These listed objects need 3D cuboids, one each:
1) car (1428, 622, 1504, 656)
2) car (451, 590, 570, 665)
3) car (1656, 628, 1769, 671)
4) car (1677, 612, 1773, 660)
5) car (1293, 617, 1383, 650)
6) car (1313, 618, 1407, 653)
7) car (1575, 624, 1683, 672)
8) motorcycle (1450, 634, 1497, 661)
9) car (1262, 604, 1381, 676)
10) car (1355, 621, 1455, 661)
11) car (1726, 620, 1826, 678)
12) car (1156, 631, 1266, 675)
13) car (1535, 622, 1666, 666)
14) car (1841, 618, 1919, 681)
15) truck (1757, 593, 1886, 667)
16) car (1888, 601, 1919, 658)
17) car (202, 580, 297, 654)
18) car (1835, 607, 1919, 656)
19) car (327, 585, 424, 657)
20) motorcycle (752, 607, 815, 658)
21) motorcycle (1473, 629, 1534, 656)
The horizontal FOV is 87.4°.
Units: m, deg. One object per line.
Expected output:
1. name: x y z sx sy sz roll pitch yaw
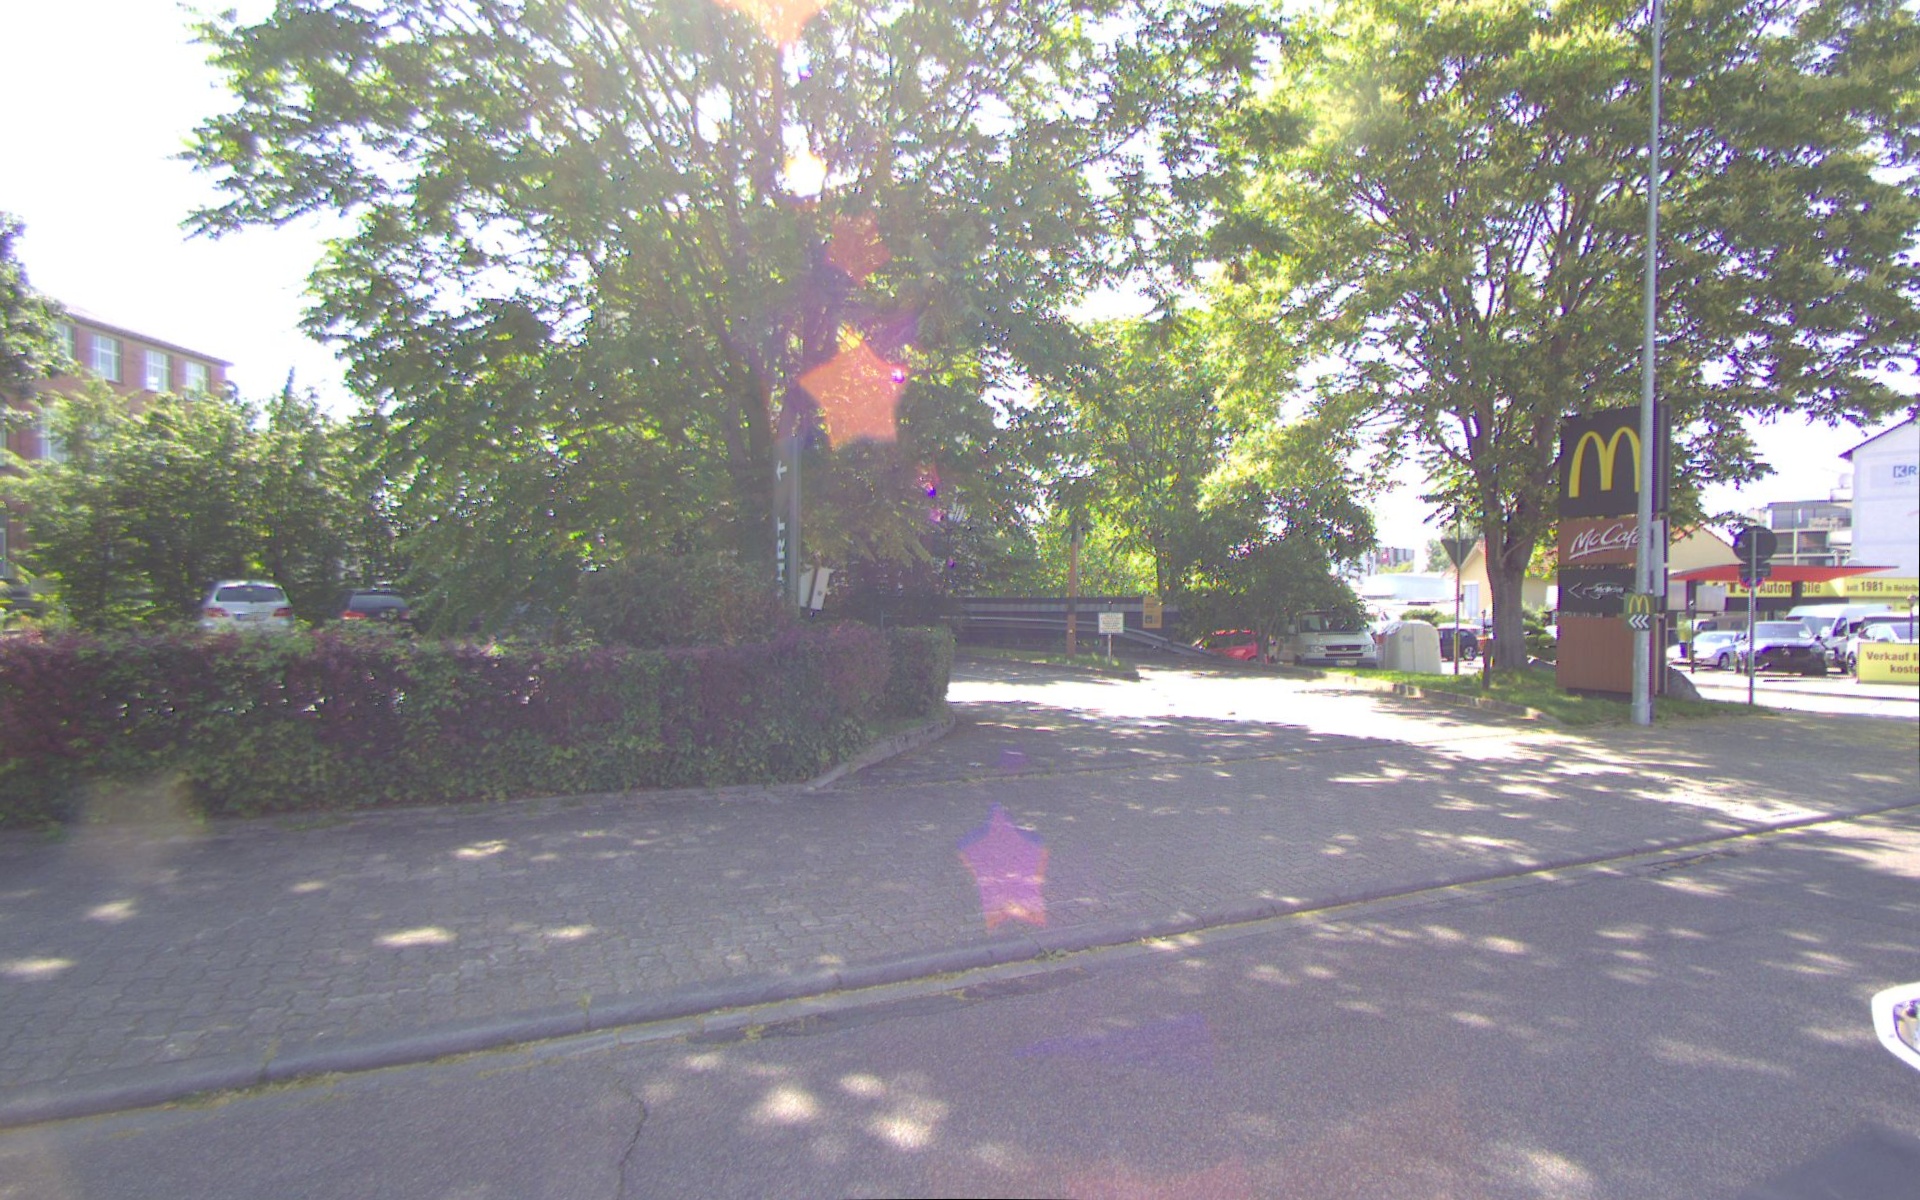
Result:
1. car: 27.309 2.077 54.347 1.961 1.606 3.999 2 0 -1
2. car: -10.401 0.566 23.081 1.688 1.473 3.958 0 2 -37
3. car: 28.864 1.895 38.539 3.945 1.507 1.783 2 0 -25
4. car: 34.376 1.632 45.117 4.446 2.040 1.982 2 0 -32
5. car: 22.317 1.987 59.296 4.571 1.748 1.996 2 -1 -10
6. car: 22.610 1.985 56.889 4.571 1.748 1.996 2 -1 -10
7. car: 23.787 1.697 35.696 3.958 1.530 1.777 2 0 -34
8. motorcycle: 24.597 2.271 48.152 1.836 1.174 0.790 2 0 9
9. car: 9.396 0.962 26.527 1.918 1.604 5.034 2 1 8
10. car: 21.545 1.953 48.738 3.923 1.728 1.999 2 0 -4
11. car: 25.445 1.475 31.459 2.019 1.616 4.410 2 0 35
12. car: 8.466 1.780 34.038 3.348 1.397 1.486 0 2 -2
13. car: 26.607 1.791 41.902 4.250 1.606 2.000 2 0 20
14. car: 28.298 1.459 29.870 1.962 1.748 3.998 2 0 23
15. truck: 36.592 1.266 42.609 5.872 2.942 2.258 2 1 -30
16. car: 40.957 1.250 42.017 4.662 2.315 2.122 1 0 -34
17. car: -17.211 0.349 24.326 1.757 1.593 3.958 0 1 -36
18. car: 35.916 1.222 38.804 4.669 1.761 1.867 2 1 -32
19. car: -14.251 0.442 24.390 1.756 1.490 3.960 0 2 -35
20. motorcycle: -4.297 0.771 24.401 1.580 1.185 0.568 1 1 37
21. motorcycle: 27.276 2.129 50.421 2.671 1.243 0.997 2 0 -11
